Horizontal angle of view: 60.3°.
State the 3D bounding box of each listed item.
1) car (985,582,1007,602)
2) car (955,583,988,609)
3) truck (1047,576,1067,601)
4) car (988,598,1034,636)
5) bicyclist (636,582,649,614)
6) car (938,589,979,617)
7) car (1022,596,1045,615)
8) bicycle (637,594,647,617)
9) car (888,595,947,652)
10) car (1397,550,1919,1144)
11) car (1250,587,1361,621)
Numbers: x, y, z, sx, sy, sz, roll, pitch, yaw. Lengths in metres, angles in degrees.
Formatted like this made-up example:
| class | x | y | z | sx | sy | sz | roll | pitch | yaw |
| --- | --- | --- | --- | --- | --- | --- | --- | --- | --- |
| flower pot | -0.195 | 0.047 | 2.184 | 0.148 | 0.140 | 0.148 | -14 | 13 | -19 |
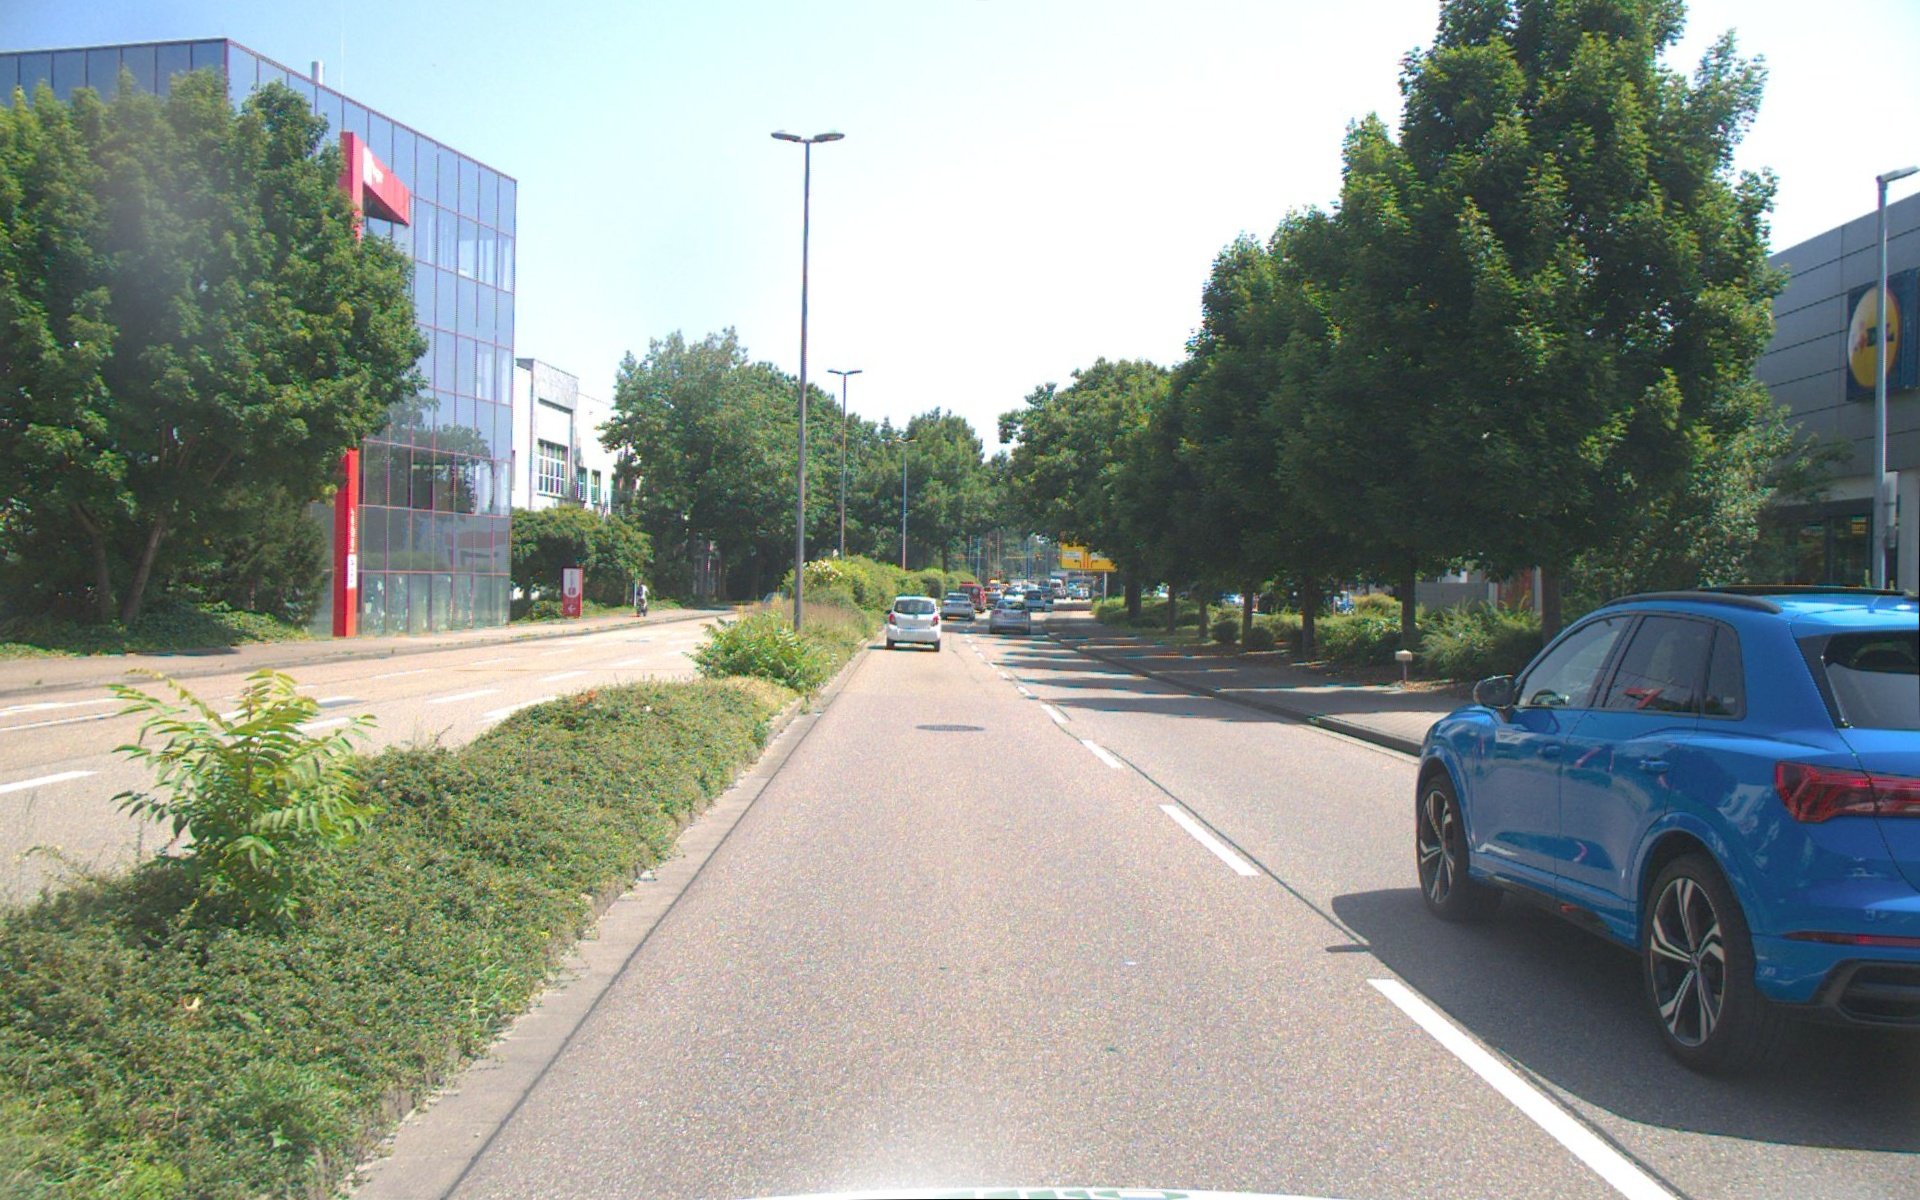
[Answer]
| class | x | y | z | sx | sy | sz | roll | pitch | yaw |
| --- | --- | --- | --- | --- | --- | --- | --- | --- | --- |
| car | 2.689 | -0.612 | 124.264 | 1.457 | 1.416 | 3.307 | 2 | 0 | -1 |
| car | 0.770 | -0.244 | 105.390 | 1.845 | 1.636 | 4.002 | -1 | 0 | 4 |
| truck | 14.571 | -1.712 | 247.451 | 2.870 | 3.563 | 9.163 | 1 | 1 | 4 |
| car | 2.166 | 0.699 | 70.260 | 1.827 | 1.498 | 4.001 | 2 | 0 | 2 |
| bicyclist | -15.284 | -0.081 | 79.584 | 0.534 | 1.536 | 0.343 | -1 | 0 | -1 |
| car | -0.046 | 0.159 | 87.971 | 1.845 | 1.378 | 4.002 | 2 | 0 | 4 |
| car | 5.382 | 0.396 | 121.359 | 1.412 | 1.372 | 3.459 | 0 | 0 | -1 |
| bicycle | -15.290 | 0.262 | 79.566 | 0.339 | 1.086 | 0.923 | -1 | 0 | -1 |
| car | -1.234 | 0.671 | 49.017 | 1.605 | 1.579 | 3.325 | 2 | 0 | 0 |
| car | 3.307 | 0.704 | 6.729 | 1.772 | 1.620 | 4.348 | 2 | 0 | -1 |
| car | 14.682 | 0.168 | 70.480 | 1.929 | 1.375 | 4.660 | -1 | 0 | -33 |
